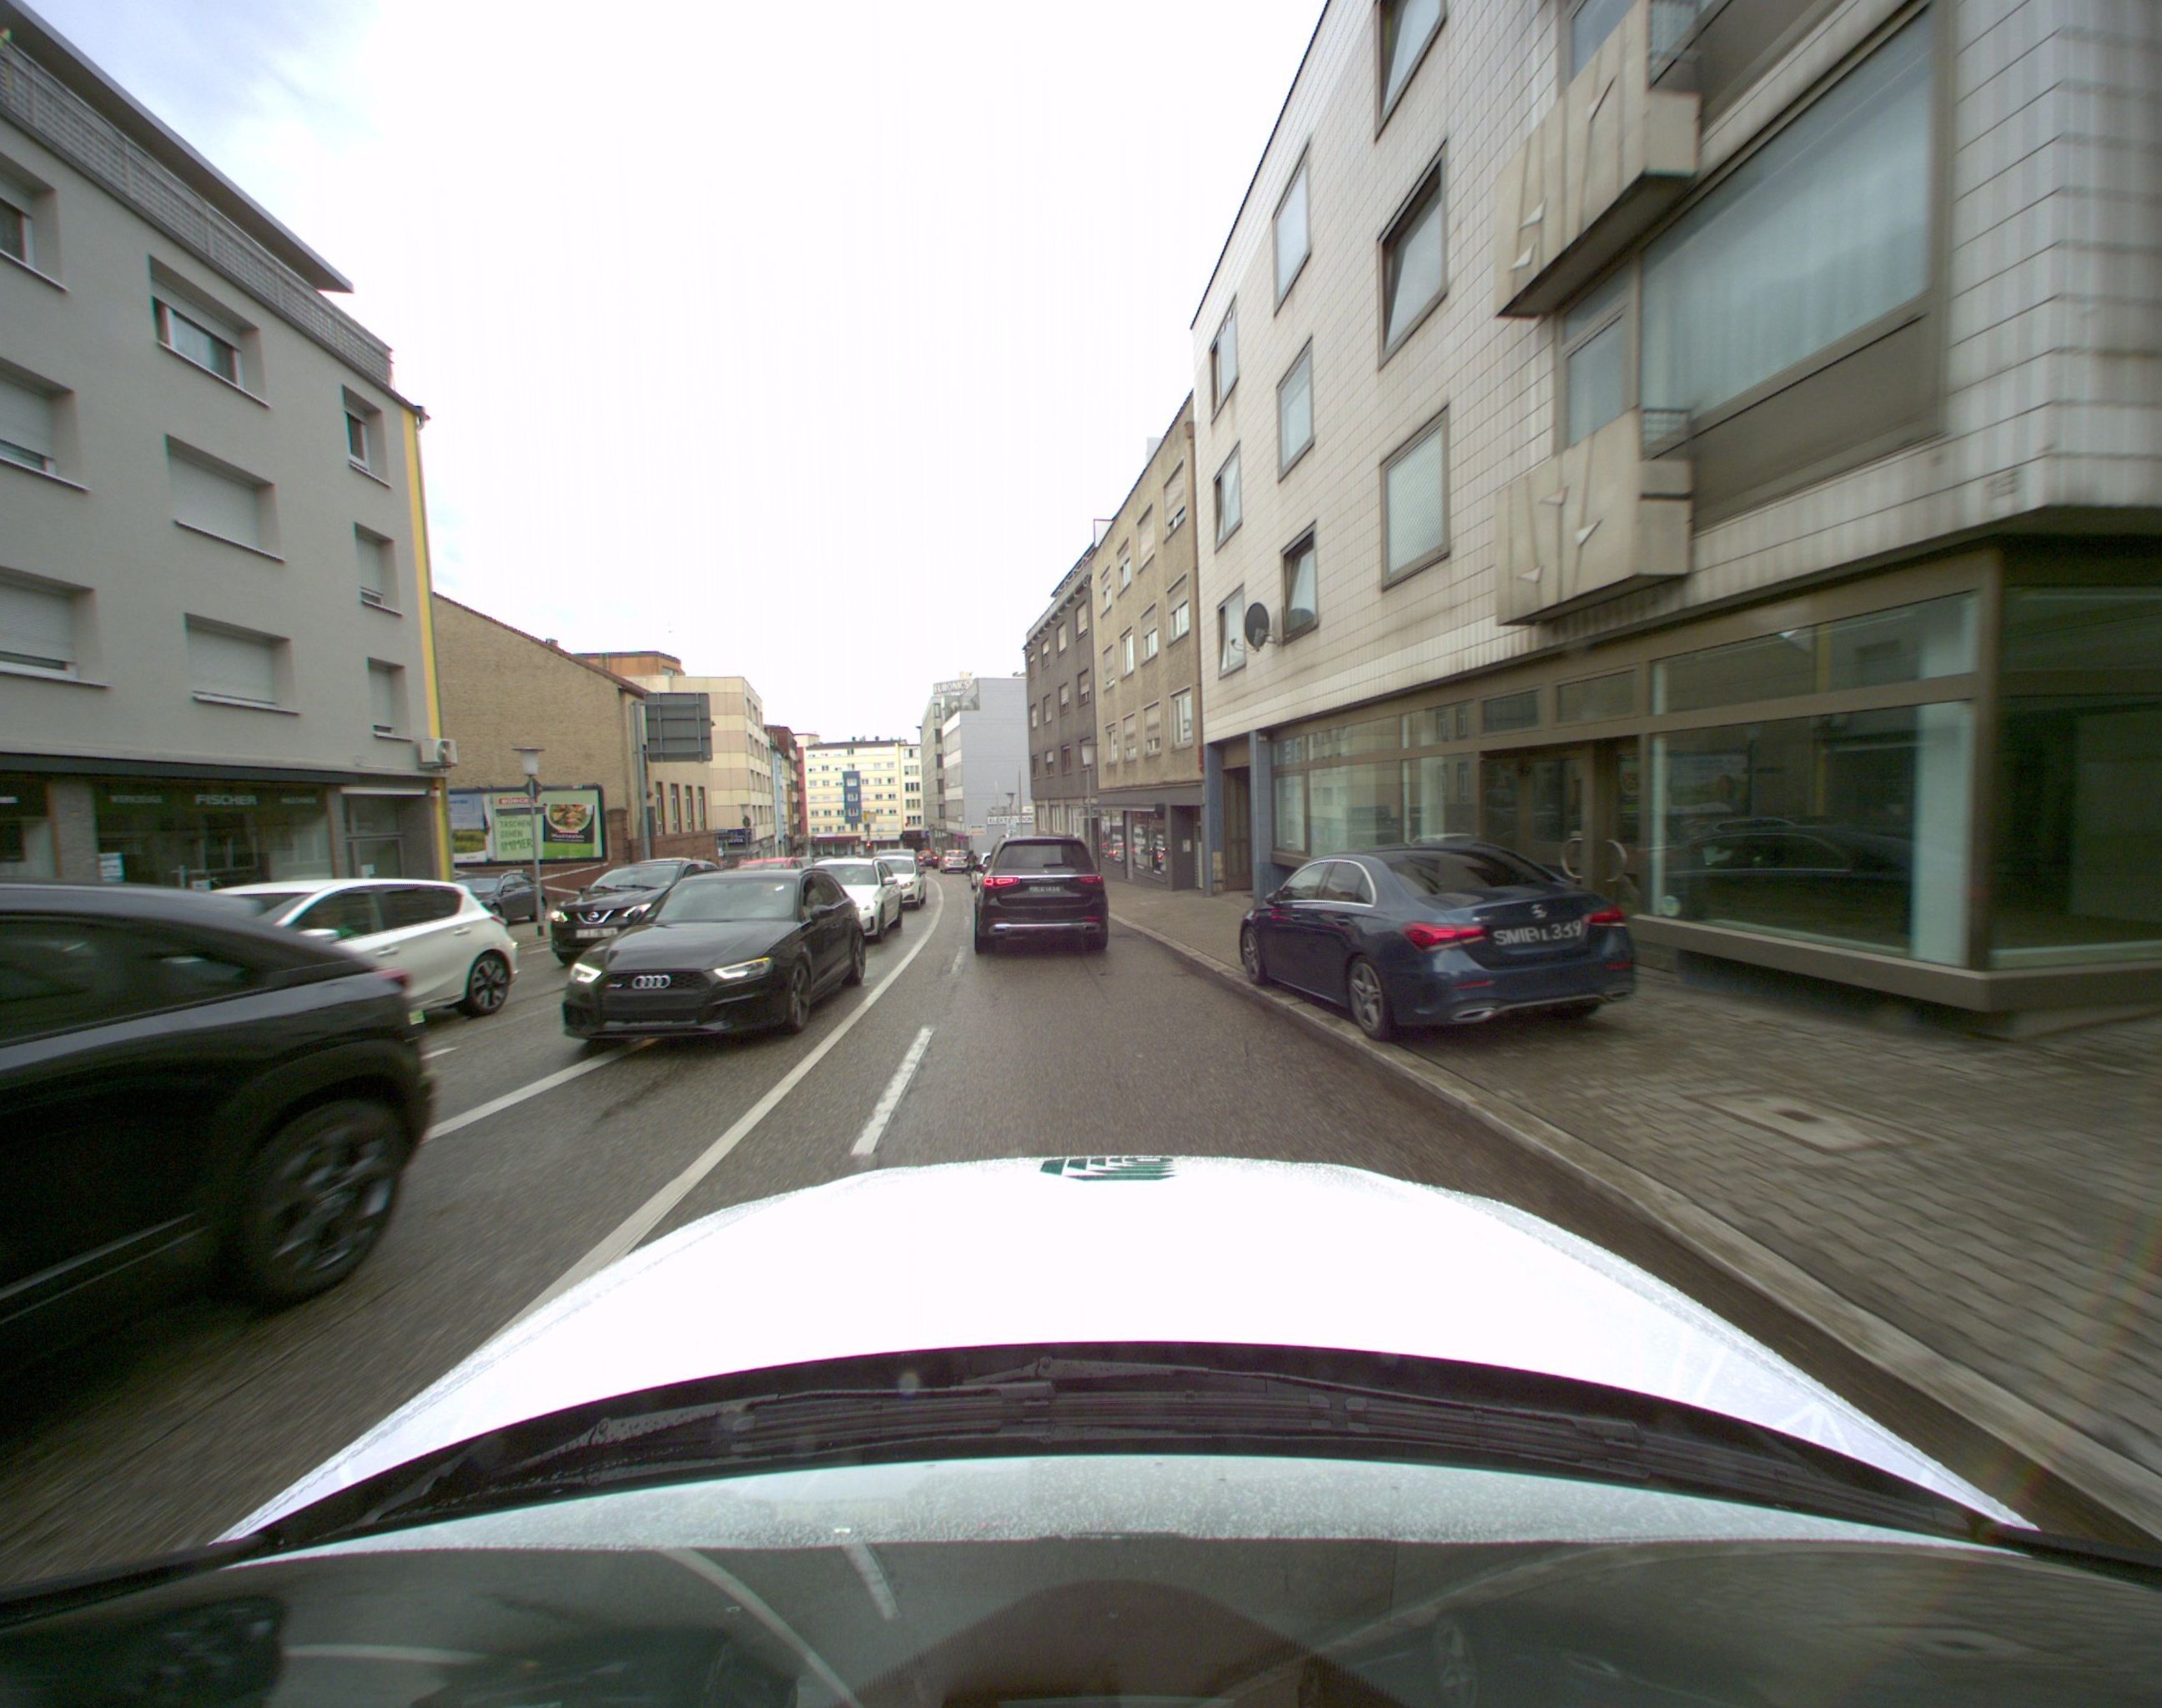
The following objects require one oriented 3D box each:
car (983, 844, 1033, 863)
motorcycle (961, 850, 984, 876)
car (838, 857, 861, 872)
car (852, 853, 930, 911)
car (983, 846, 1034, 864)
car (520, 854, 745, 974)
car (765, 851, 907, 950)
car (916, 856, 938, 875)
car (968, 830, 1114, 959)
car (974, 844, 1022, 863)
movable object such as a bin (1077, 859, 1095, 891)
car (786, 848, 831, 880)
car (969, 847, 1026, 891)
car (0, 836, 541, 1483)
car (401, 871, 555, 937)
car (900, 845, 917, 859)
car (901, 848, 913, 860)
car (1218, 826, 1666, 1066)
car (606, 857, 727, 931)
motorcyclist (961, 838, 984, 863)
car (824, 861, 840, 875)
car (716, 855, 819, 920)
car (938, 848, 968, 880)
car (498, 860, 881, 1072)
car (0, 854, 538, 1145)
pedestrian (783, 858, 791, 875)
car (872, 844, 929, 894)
[{"bbox_3d":[-6.468,-0.049,72.472,4.016,1.597,1.780,-1,-1,-34],"label":"car"},{"bbox_3d":[-5.642,0.448,42.373,0.869,1.057,2.926,-2,5,-14],"label":"motorcycle"},{"bbox_3d":[-23.180,1.009,81.730,1.697,1.480,4.278,0,0,-9],"label":"car"},{"bbox_3d":[-5.288,0.727,23.119,1.697,1.480,4.280,0,0,-7],"label":"car"},{"bbox_3d":[-6.175,0.077,69.811,4.016,1.494,1.715,-1,-1,-34],"label":"car"},{"bbox_3d":[-7.585,0.892,14.344,1.805,1.631,4.333,-5,0,-6],"label":"car"},{"bbox_3d":[-4.491,0.761,15.611,1.805,1.521,4.550,-2,0,-7],"label":"car"},{"bbox_3d":[-13.490,1.011,71.276,1.526,1.548,3.089,-2,1,-17],"label":"car"},{"bbox_3d":[-0.834,0.547,13.843,2.019,1.739,4.736,-2,1,-7],"label":"car"},{"bbox_3d":[-7.586,-0.032,74.734,4.016,1.597,1.780,-1,-1,-34],"label":"car"},{"bbox_3d":[0.158,0.659,25.811,0.524,0.950,0.536,-1,5,-7],"label":"movable object such as a bin"},{"bbox_3d":[-15.365,0.541,46.104,1.655,1.610,3.916,-4,0,-9],"label":"car"},{"bbox_3d":[-3.309,0.547,31.447,1.830,1.461,4.364,-5,0,-9],"label":"car"},{"bbox_3d":[-3.491,0.758,1.707,1.814,1.537,4.376,-2,0,-1],"label":"car"},{"bbox_3d":[-16.606,1.291,22.727,1.693,1.455,4.643,-2,1,-13],"label":"car"},{"bbox_3d":[-19.707,-0.244,92.977,1.526,1.548,3.089,-2,1,-17],"label":"car"},{"bbox_3d":[-23.935,0.006,112.151,1.524,1.548,3.093,-2,1,-13],"label":"car"},{"bbox_3d":[2.724,0.582,7.438,1.761,1.392,4.371,-5,0,-5],"label":"car"},{"bbox_3d":[-11.837,1.061,23.567,1.726,1.829,4.050,-4,0,-7],"label":"car"},{"bbox_3d":[-5.651,-0.192,42.417,0.869,1.057,2.926,-2,5,-13],"label":"motorcyclist"},{"bbox_3d":[-31.129,1.736,101.992,1.718,1.586,4.121,-5,1,-16],"label":"car"},{"bbox_3d":[-8.569,0.841,22.628,1.740,1.515,4.118,-4,0,-9],"label":"car"},{"bbox_3d":[-8.711,0.660,55.262,1.756,1.779,3.560,-2,5,-13],"label":"car"},{"bbox_3d":[-3.368,0.819,8.098,1.802,1.415,4.374,-2,0,-3],"label":"car"},{"bbox_3d":[-6.986,0.881,6.918,1.802,1.542,4.377,-2,2,-1],"label":"car"},{"bbox_3d":[-30.465,1.296,84.447,0.742,1.652,0.602,-2,5,-19],"label":"pedestrian"},{"bbox_3d":[-6.624,0.504,30.270,1.806,1.705,4.546,0,0,-9],"label":"car"}]
